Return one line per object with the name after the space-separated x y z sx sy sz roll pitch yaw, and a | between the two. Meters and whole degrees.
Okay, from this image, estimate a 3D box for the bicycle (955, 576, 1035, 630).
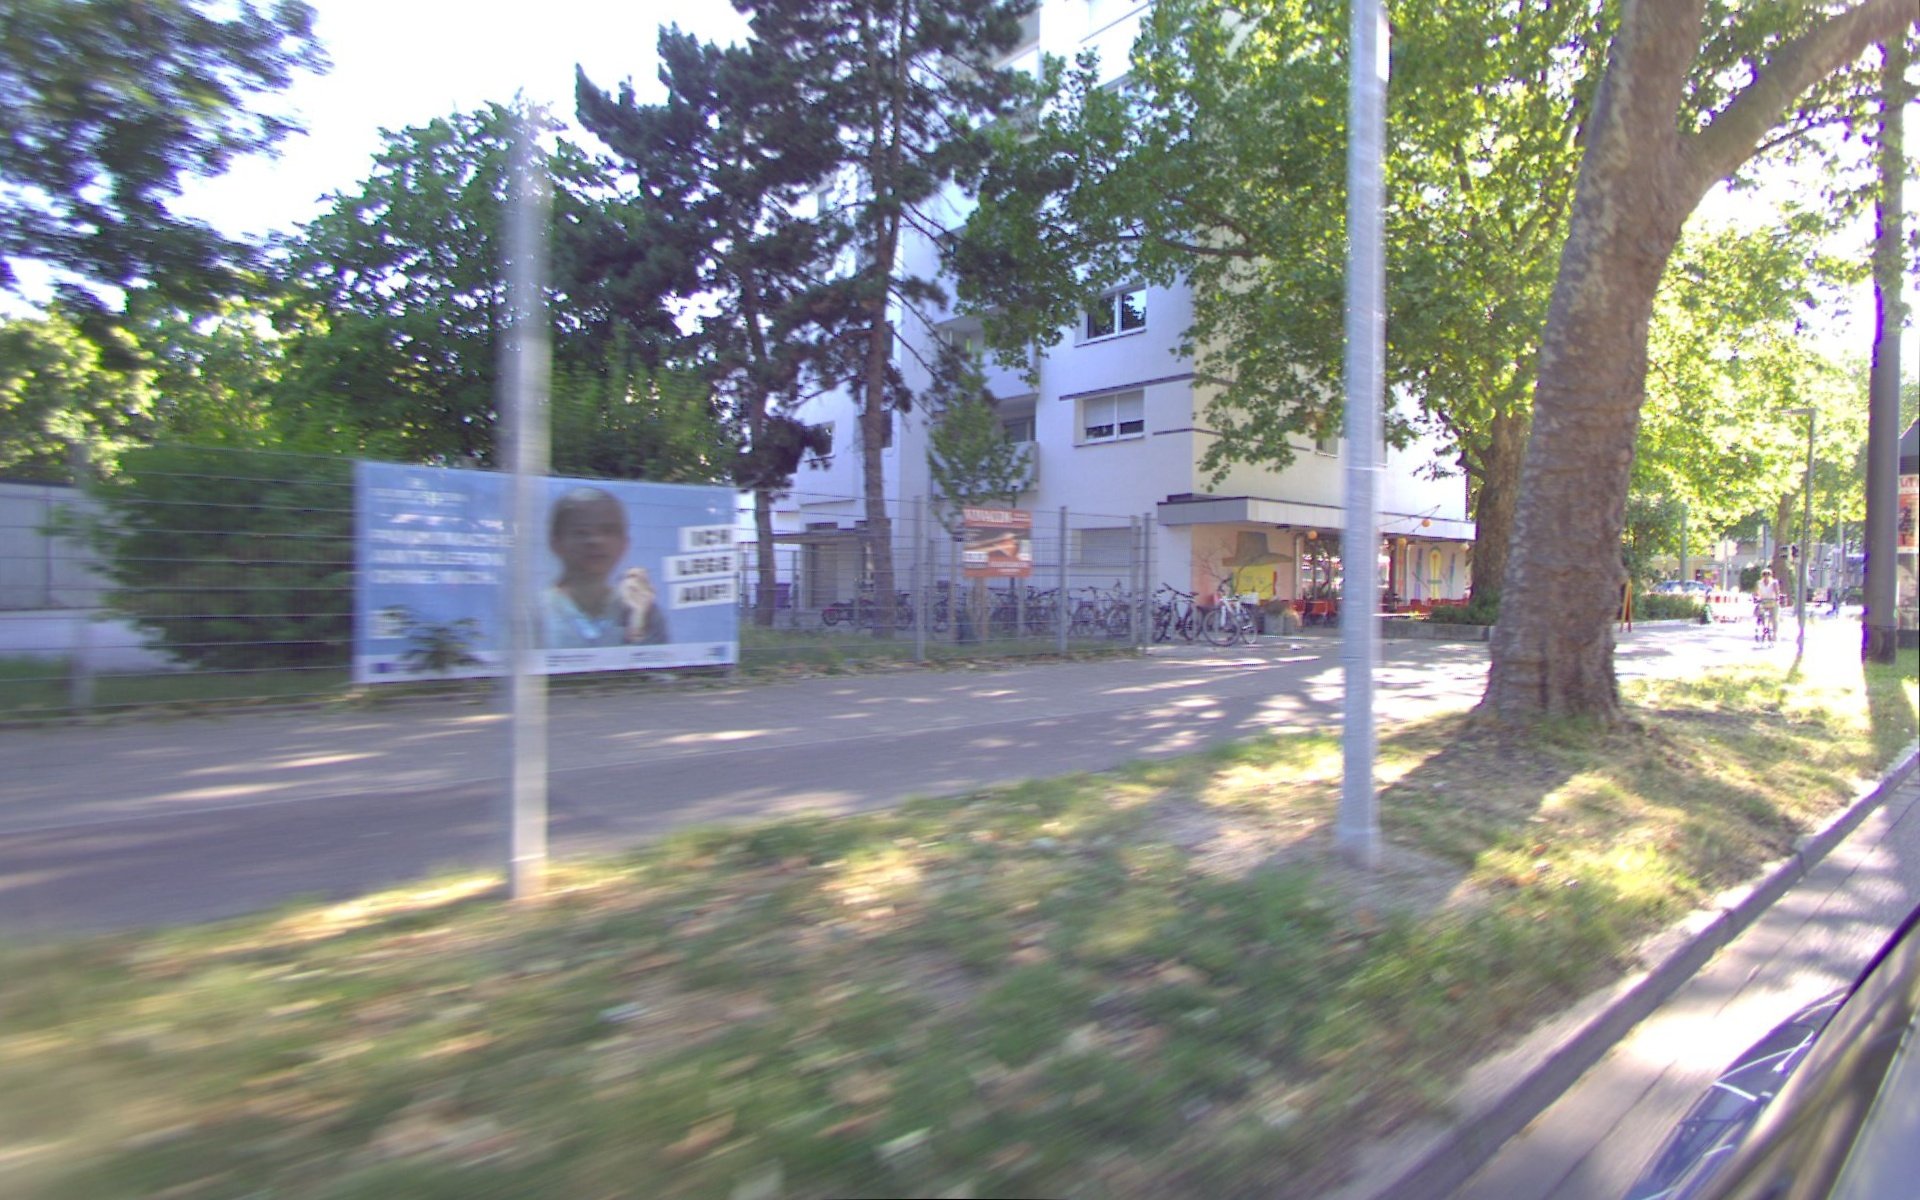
0.829 0.060 23.492 1.789 1.192 0.790 -1 0 -41 | bicycle

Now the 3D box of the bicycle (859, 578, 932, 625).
-1.691 0.026 26.560 1.789 1.192 0.790 -1 0 -41 | bicycle

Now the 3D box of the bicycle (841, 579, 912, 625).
-2.242 0.034 27.252 1.789 1.192 0.790 -1 0 -41 | bicycle

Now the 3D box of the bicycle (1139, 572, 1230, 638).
4.302 0.082 19.329 1.789 1.192 0.790 -1 0 -41 | bicycle

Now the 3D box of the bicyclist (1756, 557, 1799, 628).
18.272 -0.177 22.625 0.845 1.570 0.604 -1 1 -42 | bicyclist

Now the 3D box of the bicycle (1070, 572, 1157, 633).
3.163 0.037 20.775 1.789 1.192 0.790 -1 0 -41 | bicycle

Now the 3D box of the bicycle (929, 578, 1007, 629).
0.198 0.069 24.271 1.789 1.192 0.790 -1 0 -41 | bicycle

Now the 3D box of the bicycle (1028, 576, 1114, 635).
2.358 0.110 21.339 1.789 1.192 0.790 -1 0 -41 | bicycle

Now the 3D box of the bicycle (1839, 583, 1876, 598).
61.876 -0.650 69.772 1.804 1.067 0.531 0 0 24 | bicycle

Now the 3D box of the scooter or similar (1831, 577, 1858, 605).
41.575 -0.431 47.566 1.265 1.273 0.563 -1 2 -32 | scooter or similar

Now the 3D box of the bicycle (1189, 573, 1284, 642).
5.004 0.121 18.249 1.789 1.192 0.790 -1 0 -41 | bicycle

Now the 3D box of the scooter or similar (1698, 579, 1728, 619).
24.867 -0.036 33.412 1.269 1.273 0.561 -2 3 -45 | scooter or similar

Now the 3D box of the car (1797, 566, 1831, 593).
90.001 -2.151 106.658 4.631 2.777 1.997 -1 0 -40 | car

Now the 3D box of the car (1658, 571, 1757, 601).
44.997 -0.823 61.037 4.537 1.661 1.917 -1 0 28 | car

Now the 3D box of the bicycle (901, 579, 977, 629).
-0.502 0.080 25.032 1.789 1.192 0.790 -1 0 -41 | bicycle

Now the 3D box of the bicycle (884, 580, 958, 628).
-0.978 0.087 25.727 1.789 1.192 0.790 -1 0 -41 | bicycle

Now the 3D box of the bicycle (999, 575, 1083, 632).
1.778 0.059 22.096 1.789 1.192 0.790 -1 0 -41 | bicycle

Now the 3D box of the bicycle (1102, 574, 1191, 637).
3.720 0.089 20.085 1.789 1.192 0.790 -1 0 -41 | bicycle

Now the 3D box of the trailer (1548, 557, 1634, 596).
39.746 -1.488 63.863 4.474 2.403 1.895 1 1 28 | trailer

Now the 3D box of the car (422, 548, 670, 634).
-7.831 -0.172 19.319 3.935 1.471 1.994 -1 0 -44 | car

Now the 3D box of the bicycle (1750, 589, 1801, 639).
18.204 0.290 22.575 1.736 1.039 0.604 -1 2 -42 | bicycle

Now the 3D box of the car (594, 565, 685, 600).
-14.308 -0.769 45.361 1.973 1.471 3.977 -1 0 18 | car

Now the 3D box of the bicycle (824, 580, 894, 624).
-2.770 0.042 27.932 1.789 1.192 0.790 -1 0 -41 | bicycle
